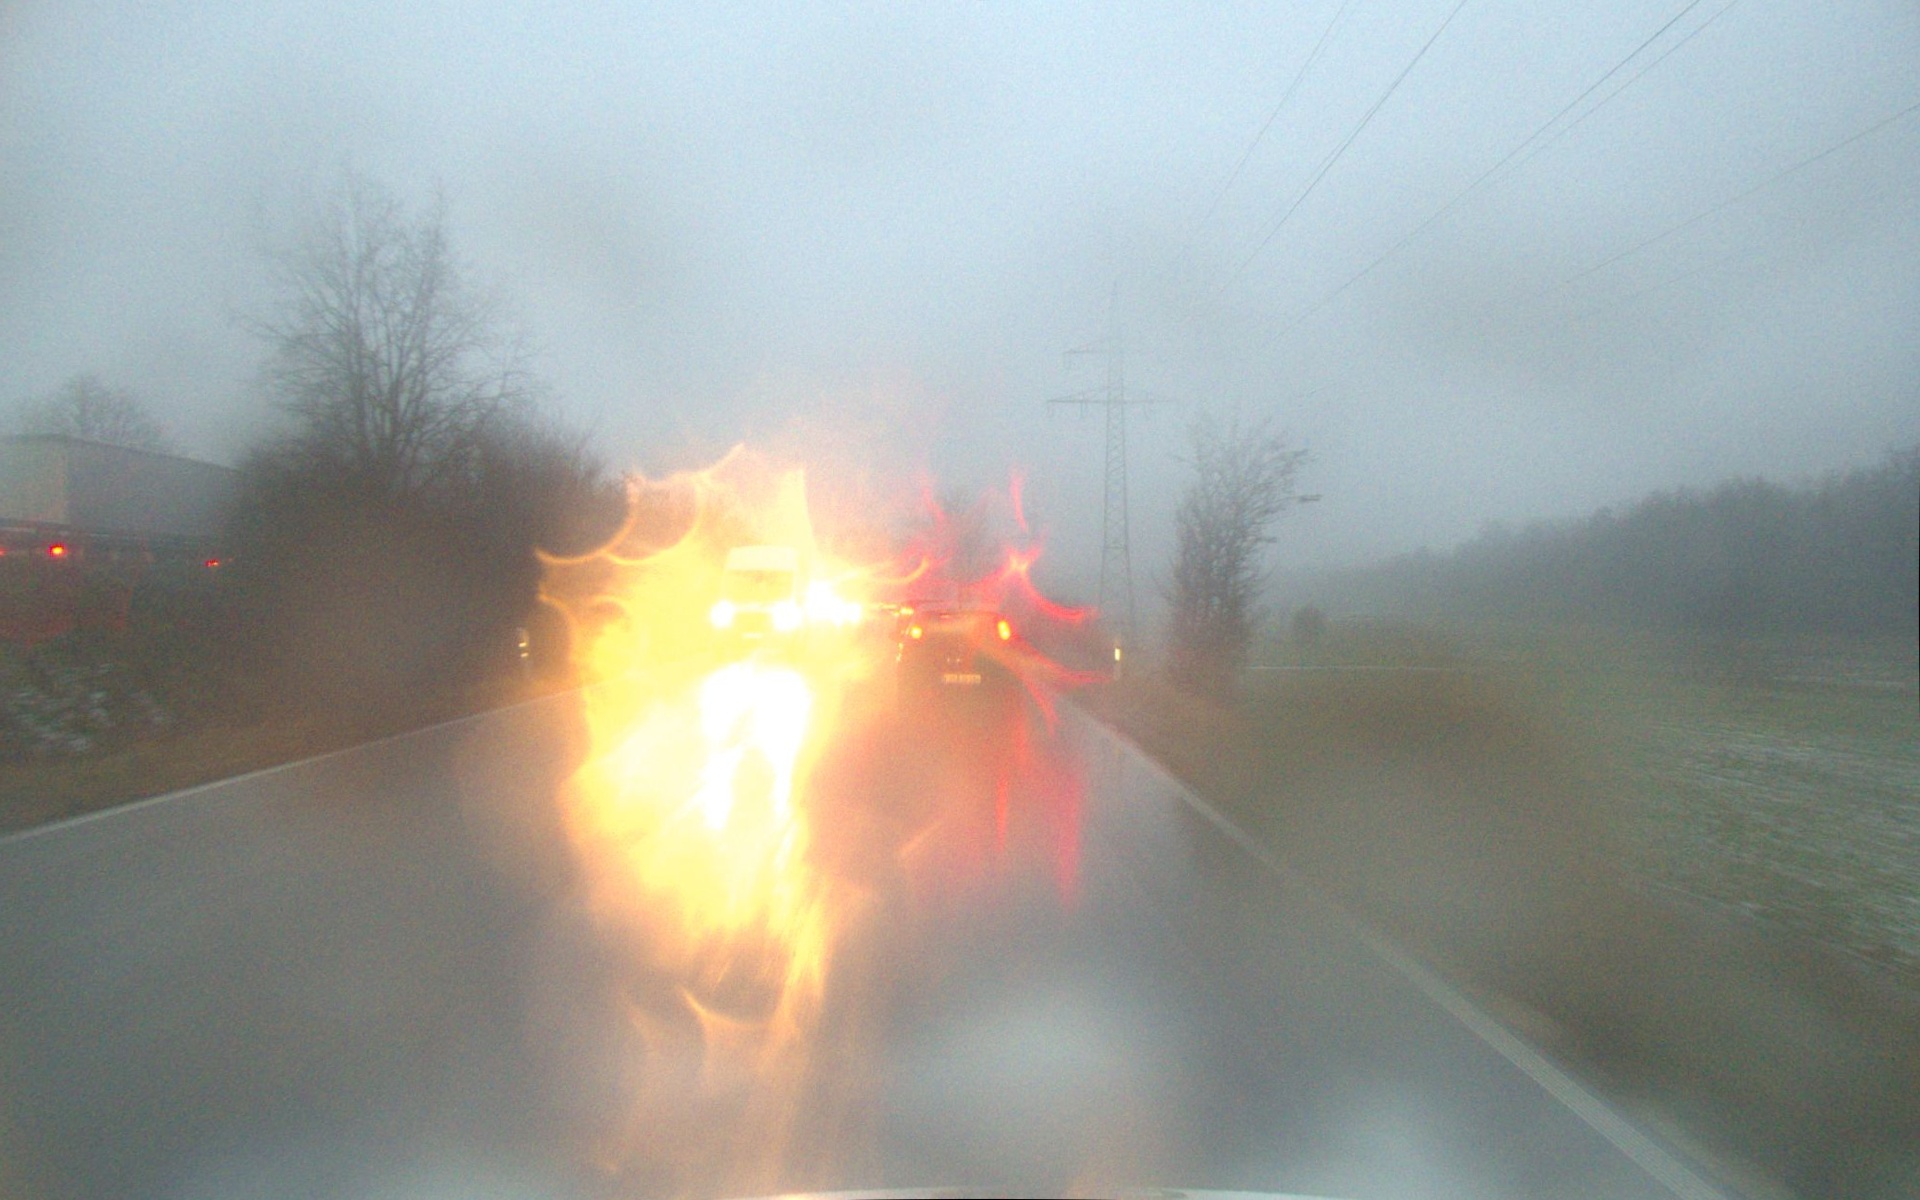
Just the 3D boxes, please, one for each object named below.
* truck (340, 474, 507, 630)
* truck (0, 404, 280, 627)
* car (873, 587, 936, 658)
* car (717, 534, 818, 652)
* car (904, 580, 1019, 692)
[{"bbox_3d":[-32.906,-2.433,104.617,7.417,7.848,39.993,1,0,-14],"label":"truck"},{"bbox_3d":[-27.791,-2.423,55.547,3.688,6.398,15.733,1,0,-2],"label":"truck"},{"bbox_3d":[-1.696,0.664,50.418,1.815,2.049,3.998,1,0,-2],"label":"car"},{"bbox_3d":[-4.753,-0.174,41.585,1.913,2.721,6.269,1,0,-1],"label":"car"},{"bbox_3d":[-0.033,0.474,23.031,1.470,1.423,3.198,1,0,-2],"label":"car"}]
